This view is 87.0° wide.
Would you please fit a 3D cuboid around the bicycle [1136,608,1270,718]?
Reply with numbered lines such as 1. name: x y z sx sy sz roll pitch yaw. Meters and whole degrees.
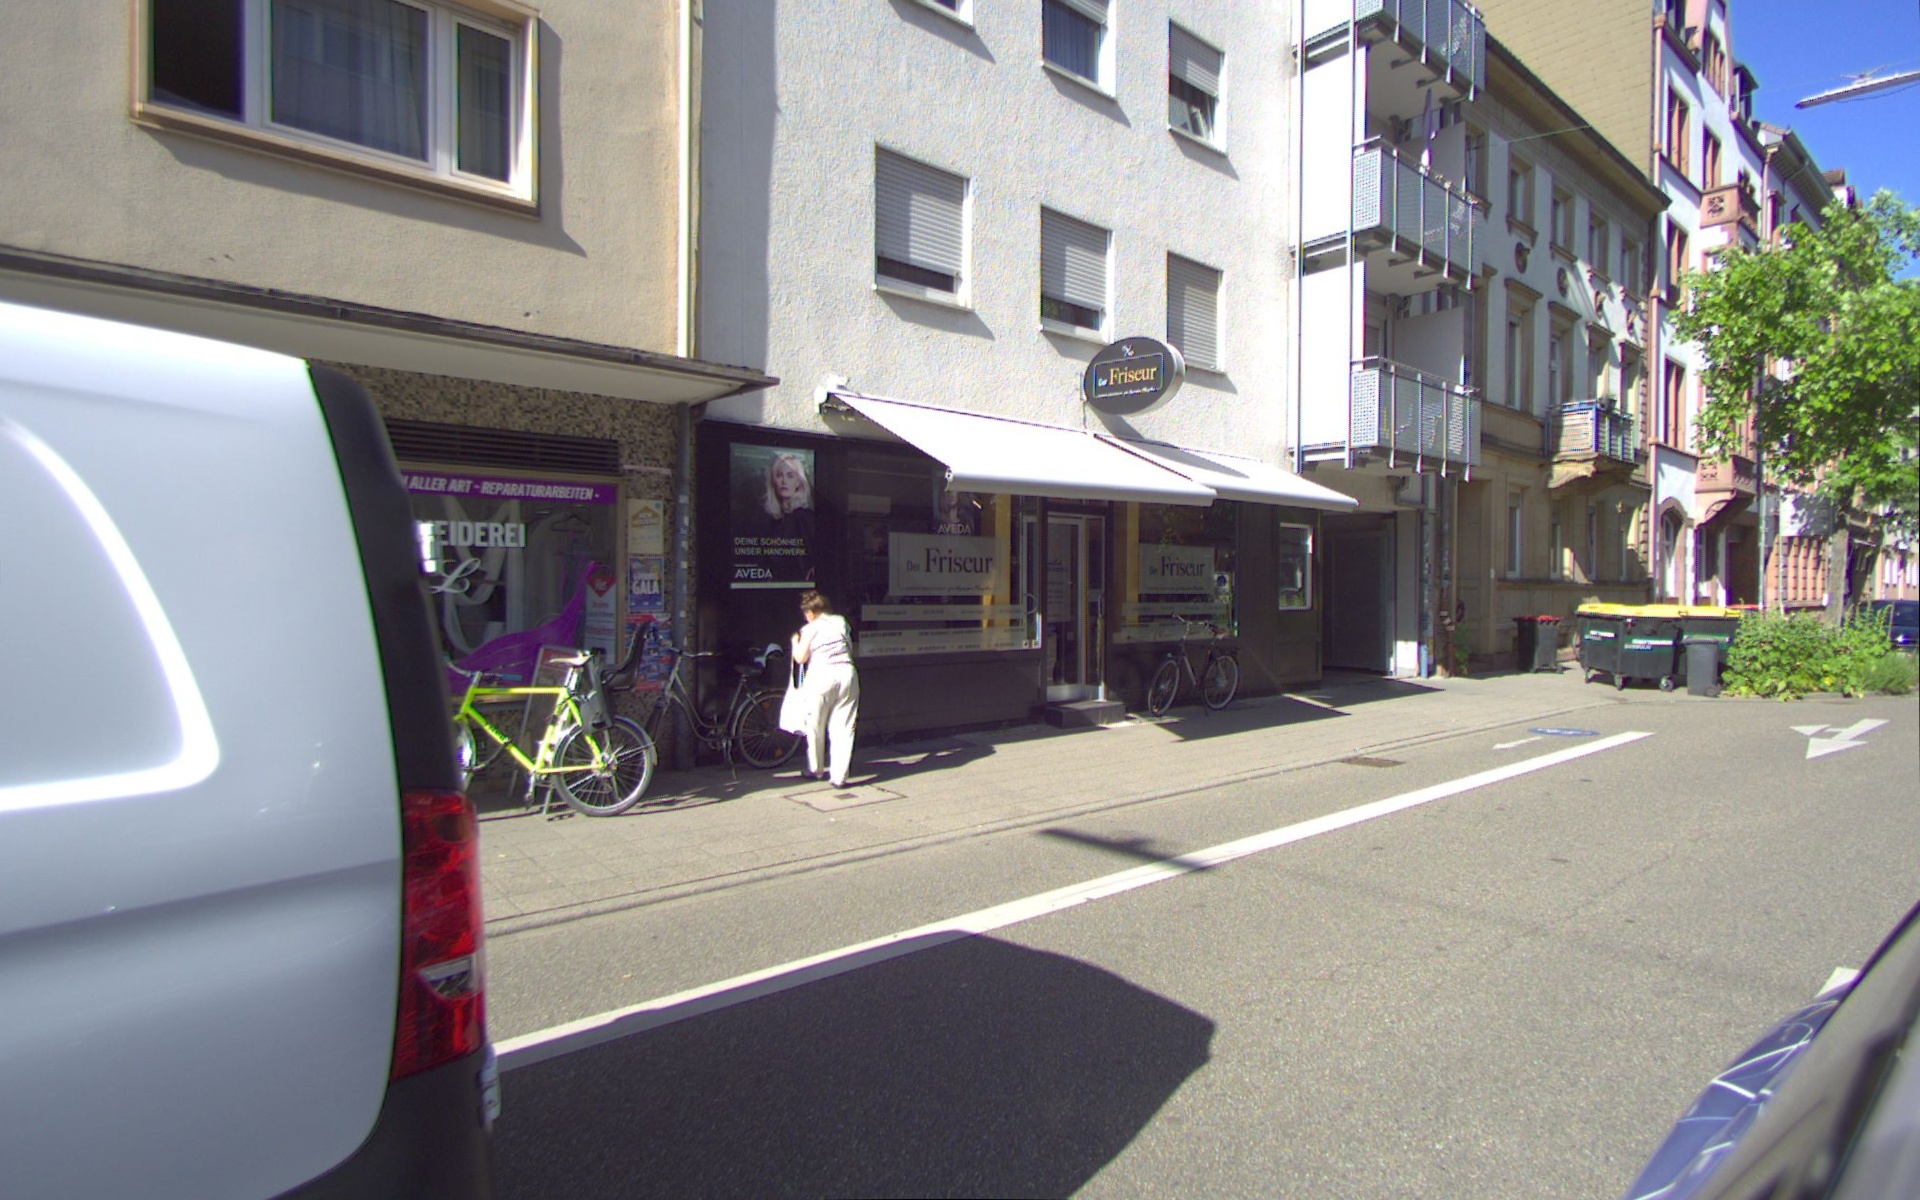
1. bicycle: 2.900 0.708 12.007 1.743 1.157 0.598 0 3 -41

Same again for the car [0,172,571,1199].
1. car: -2.923 0.517 0.484 4.750 1.833 1.971 -1 1 -42

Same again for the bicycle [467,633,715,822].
1. bicycle: -2.517 0.824 6.942 1.475 1.120 0.719 1 1 18

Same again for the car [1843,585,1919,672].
1. car: 18.957 0.518 20.134 3.485 1.616 1.626 0 1 -41

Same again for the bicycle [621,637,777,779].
1. bicycle: -2.036 0.815 7.975 1.155 0.995 0.375 0 1 -43

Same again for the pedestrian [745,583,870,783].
1. pedestrian: -1.206 0.609 7.969 0.774 1.460 0.615 3 2 45

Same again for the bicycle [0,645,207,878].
1. bicycle: -4.918 0.817 5.117 1.766 1.098 0.408 0 3 -36
